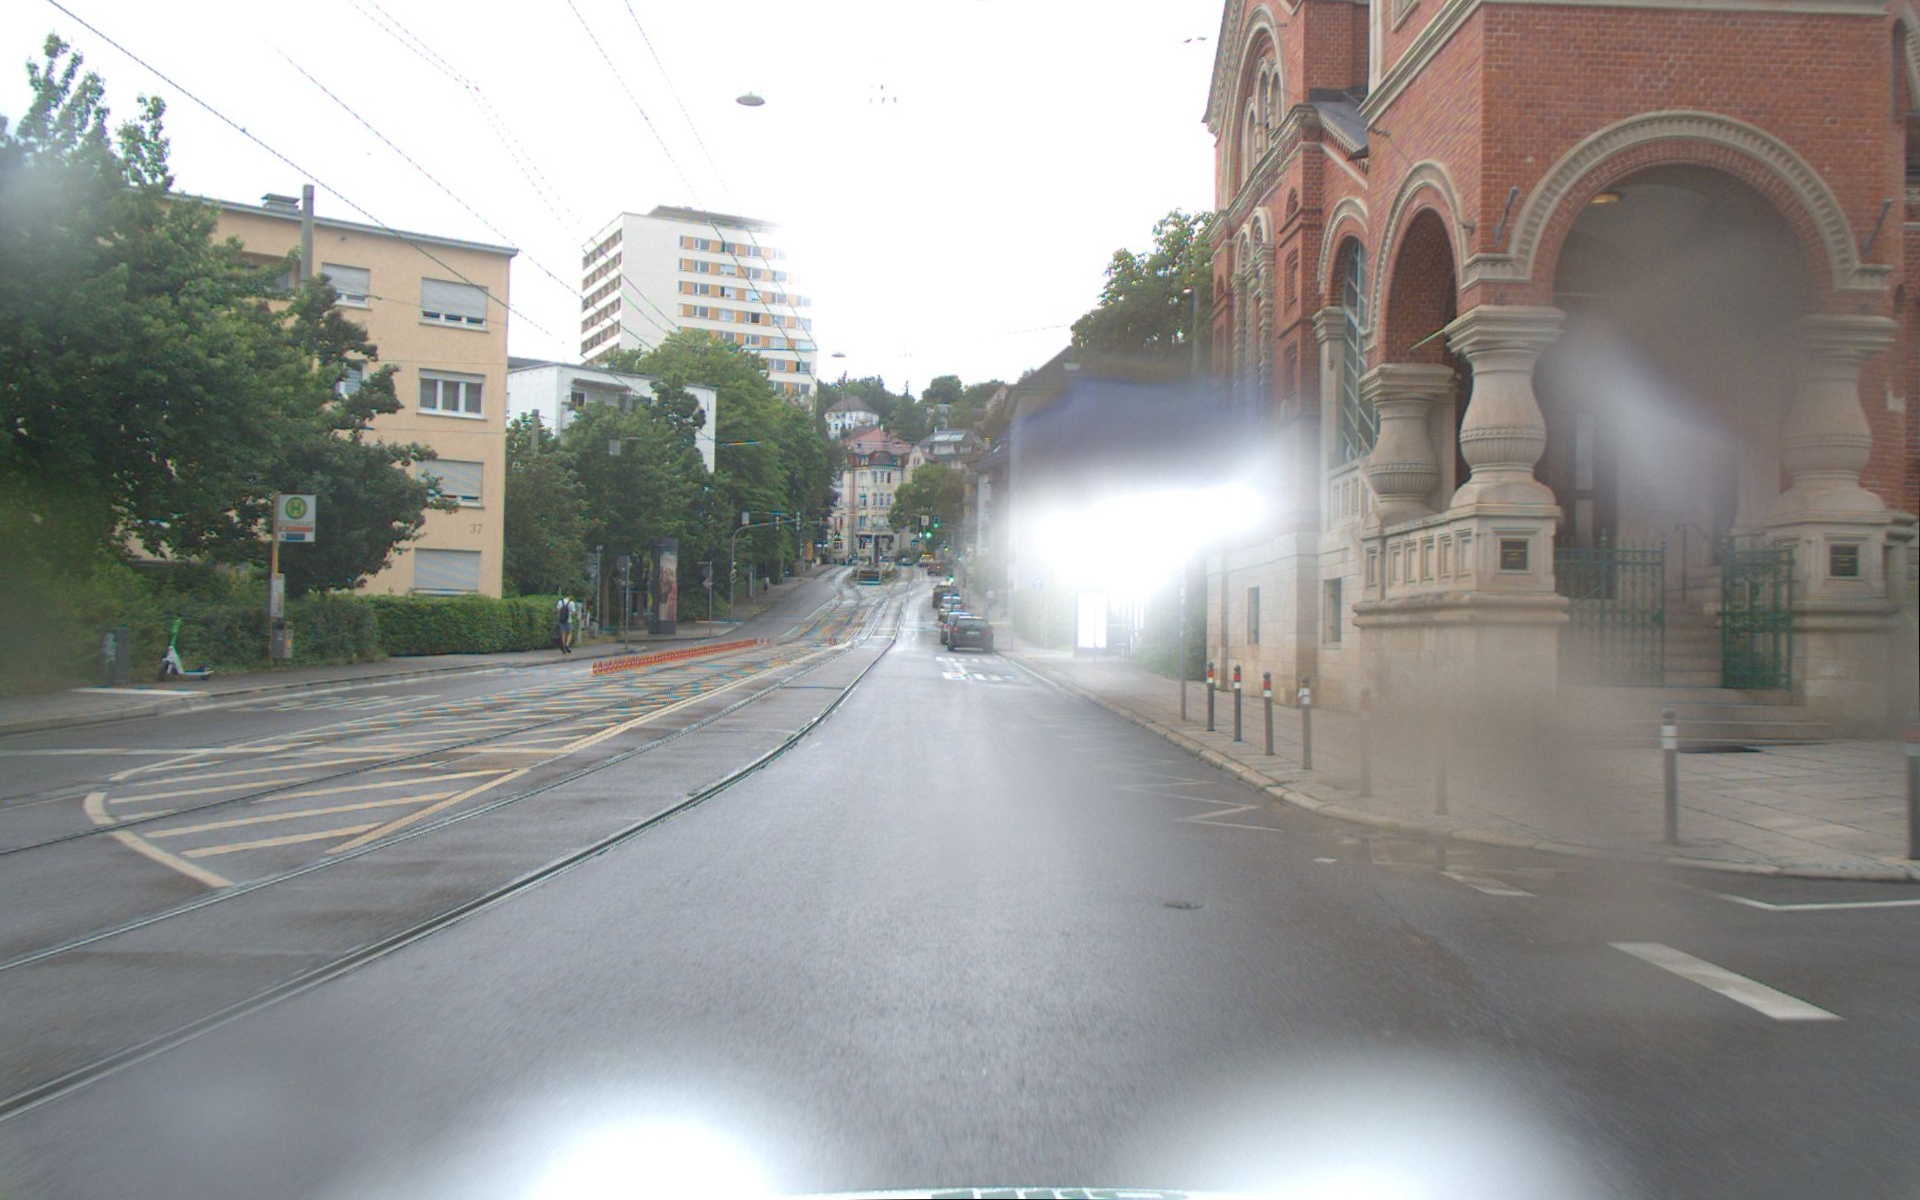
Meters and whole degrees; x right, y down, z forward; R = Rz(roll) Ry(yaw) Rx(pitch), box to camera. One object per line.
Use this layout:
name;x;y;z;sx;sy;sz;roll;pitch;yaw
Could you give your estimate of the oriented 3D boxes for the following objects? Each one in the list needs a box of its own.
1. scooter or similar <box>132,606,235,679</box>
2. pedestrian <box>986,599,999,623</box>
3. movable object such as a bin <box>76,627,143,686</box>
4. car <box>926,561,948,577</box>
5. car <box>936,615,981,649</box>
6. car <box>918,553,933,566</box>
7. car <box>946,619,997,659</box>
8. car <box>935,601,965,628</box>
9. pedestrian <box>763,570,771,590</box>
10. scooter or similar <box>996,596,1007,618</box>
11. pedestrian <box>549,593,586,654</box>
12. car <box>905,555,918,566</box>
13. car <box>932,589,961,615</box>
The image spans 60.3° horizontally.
scooter or similar;-13.280;0.743;28.334;0.560;1.205;1.599;1;-2;22
pedestrian;2.255;0.762;115.623;0.864;1.610;0.802;0;3;0
movable object such as a bin;-13.549;0.904;26.372;0.673;0.897;0.759;2;-2;-7
car;-2.702;-3.610;195.114;1.763;1.674;4.003;2;0;10
car;-0.105;1.510;79.287;1.901;1.490;4.203;2;-1;-3
car;-4.823;-5.644;228.942;1.868;1.670;4.688;3;2;-2
car;0.439;1.588;67.823;1.821;1.513;4.642;2;-1;-3
car;-0.638;0.910;104.208;1.670;1.458;4.100;3;2;-2
pedestrian;-15.665;-1.618;134.212;0.571;1.628;0.868;3;1;-5
scooter or similar;2.625;0.410;105.051;0.562;1.270;1.611;2;4;4
pedestrian;-12.293;0.742;51.871;0.901;1.878;1.016;3;-2;-6
car;-7.533;-6.168;256.956;1.868;1.670;4.688;3;2;-2
car;-1.012;0.099;120.598;1.868;1.670;4.688;3;2;-2
